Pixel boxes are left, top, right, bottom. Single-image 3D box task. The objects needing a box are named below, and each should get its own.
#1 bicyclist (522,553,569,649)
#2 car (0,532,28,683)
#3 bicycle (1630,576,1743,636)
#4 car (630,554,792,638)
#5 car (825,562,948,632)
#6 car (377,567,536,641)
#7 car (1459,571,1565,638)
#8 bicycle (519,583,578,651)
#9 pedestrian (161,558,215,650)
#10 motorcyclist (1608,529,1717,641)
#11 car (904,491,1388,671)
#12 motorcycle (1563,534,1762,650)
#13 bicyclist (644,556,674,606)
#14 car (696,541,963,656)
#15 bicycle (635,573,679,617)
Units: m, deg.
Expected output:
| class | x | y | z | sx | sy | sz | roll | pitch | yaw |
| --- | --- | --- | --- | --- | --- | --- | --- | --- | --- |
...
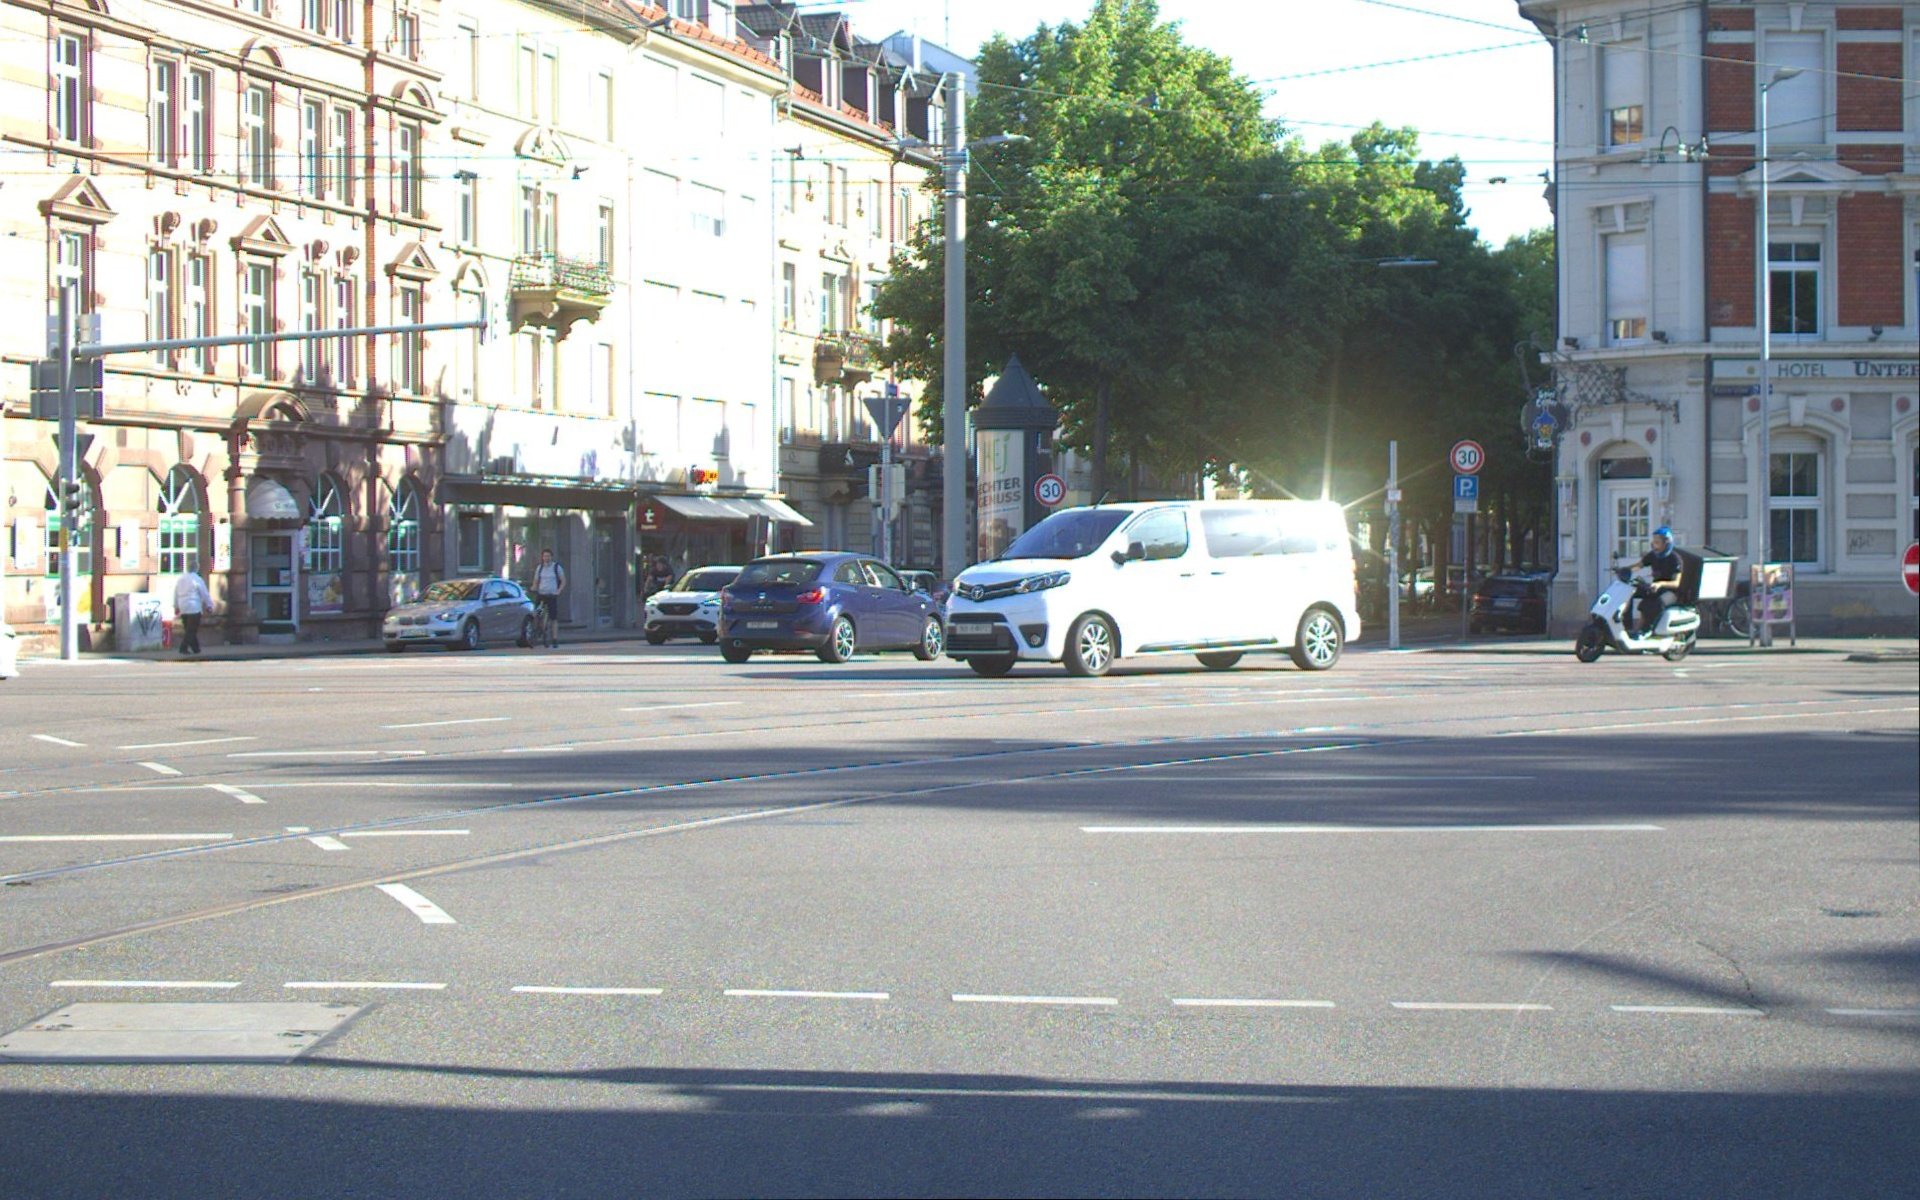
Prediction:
| class | x | y | z | sx | sy | sz | roll | pitch | yaw |
| --- | --- | --- | --- | --- | --- | --- | --- | --- | --- |
| bicyclist | -7.842 | 0.016 | 65.121 | 0.565 | 1.797 | 0.913 | 1 | 0 | 15 |
| car | -11.001 | 0.119 | 32.299 | 1.896 | 1.449 | 4.000 | 0 | 2 | 37 |
| bicycle | 12.073 | 0.099 | 57.124 | 1.804 | 0.959 | 0.603 | 1 | 0 | 14 |
| car | -4.834 | -0.094 | 67.282 | 1.804 | 1.579 | 4.156 | 1 | 1 | 17 |
| car | -1.666 | -0.083 | 79.549 | 1.804 | 1.570 | 3.888 | 1 | 1 | 15 |
| car | -9.779 | 0.063 | 67.064 | 1.661 | 1.369 | 3.889 | 1 | 1 | 15 |
| car | 13.272 | 0.097 | 82.527 | 1.758 | 1.550 | 3.996 | 1 | 1 | 20 |
| bicycle | -7.808 | 0.312 | 65.239 | 0.565 | 1.250 | 1.556 | 1 | 1 | 14 |
| pedestrian | -13.878 | 0.074 | 61.815 | 0.568 | 1.636 | 0.792 | 1 | 0 | 23 |
| motorcyclist | 8.293 | -0.180 | 40.592 | 1.014 | 1.296 | 0.789 | 1 | 0 | -11 |
| car | 2.088 | -0.234 | 37.668 | 5.200 | 1.847 | 2.000 | -1 | 1 | -36 |
| motorcycle | 8.285 | -0.092 | 40.553 | 2.135 | 1.329 | 0.797 | 1 | 0 | -11 |
| bicyclist | -6.384 | -0.405 | 72.948 | 0.473 | 1.036 | 0.537 | 1 | 0 | 15 |
| car | -1.622 | -0.054 | 44.098 | 1.828 | 1.398 | 3.995 | 0 | 1 | 24 |
| bicycle | -6.413 | -0.111 | 72.839 | 0.473 | 0.919 | 1.451 | 1 | 1 | 14 |
